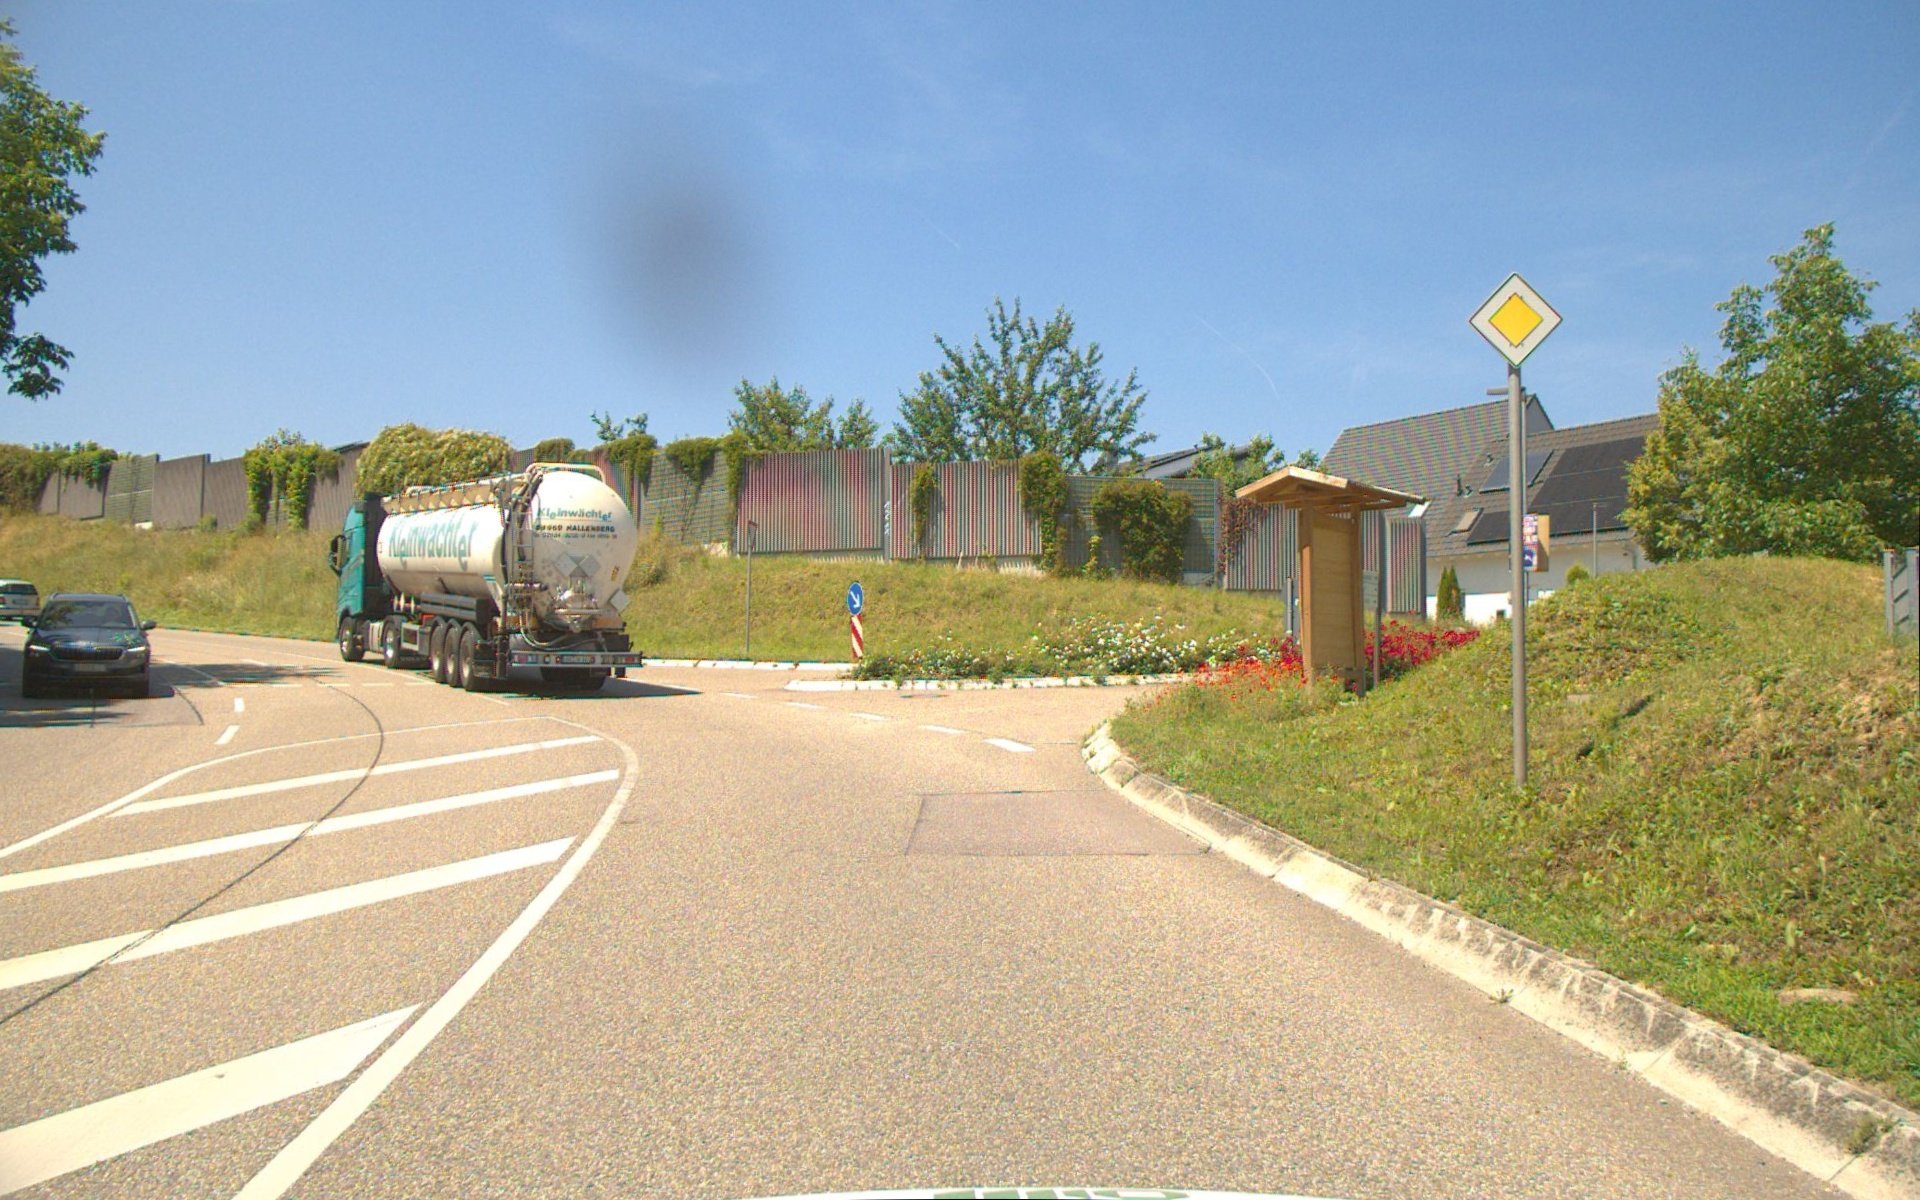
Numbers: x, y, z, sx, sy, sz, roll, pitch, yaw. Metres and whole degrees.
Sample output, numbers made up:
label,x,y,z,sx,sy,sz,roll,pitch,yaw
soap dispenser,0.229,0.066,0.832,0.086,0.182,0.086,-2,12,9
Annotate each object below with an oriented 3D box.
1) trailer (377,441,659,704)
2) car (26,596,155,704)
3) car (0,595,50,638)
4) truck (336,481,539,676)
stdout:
label,x,y,z,sx,sy,sz,roll,pitch,yaw
trailer,-9.103,-0.514,32.617,2.632,4.261,11.789,-1,1,-29
car,-14.587,0.778,27.706,1.771,1.633,4.139,1,0,-29
car,-36.883,0.605,63.896,3.567,1.536,1.646,2,-3,37
truck,-12.051,-0.484,37.693,2.701,3.998,7.183,-1,1,-32
